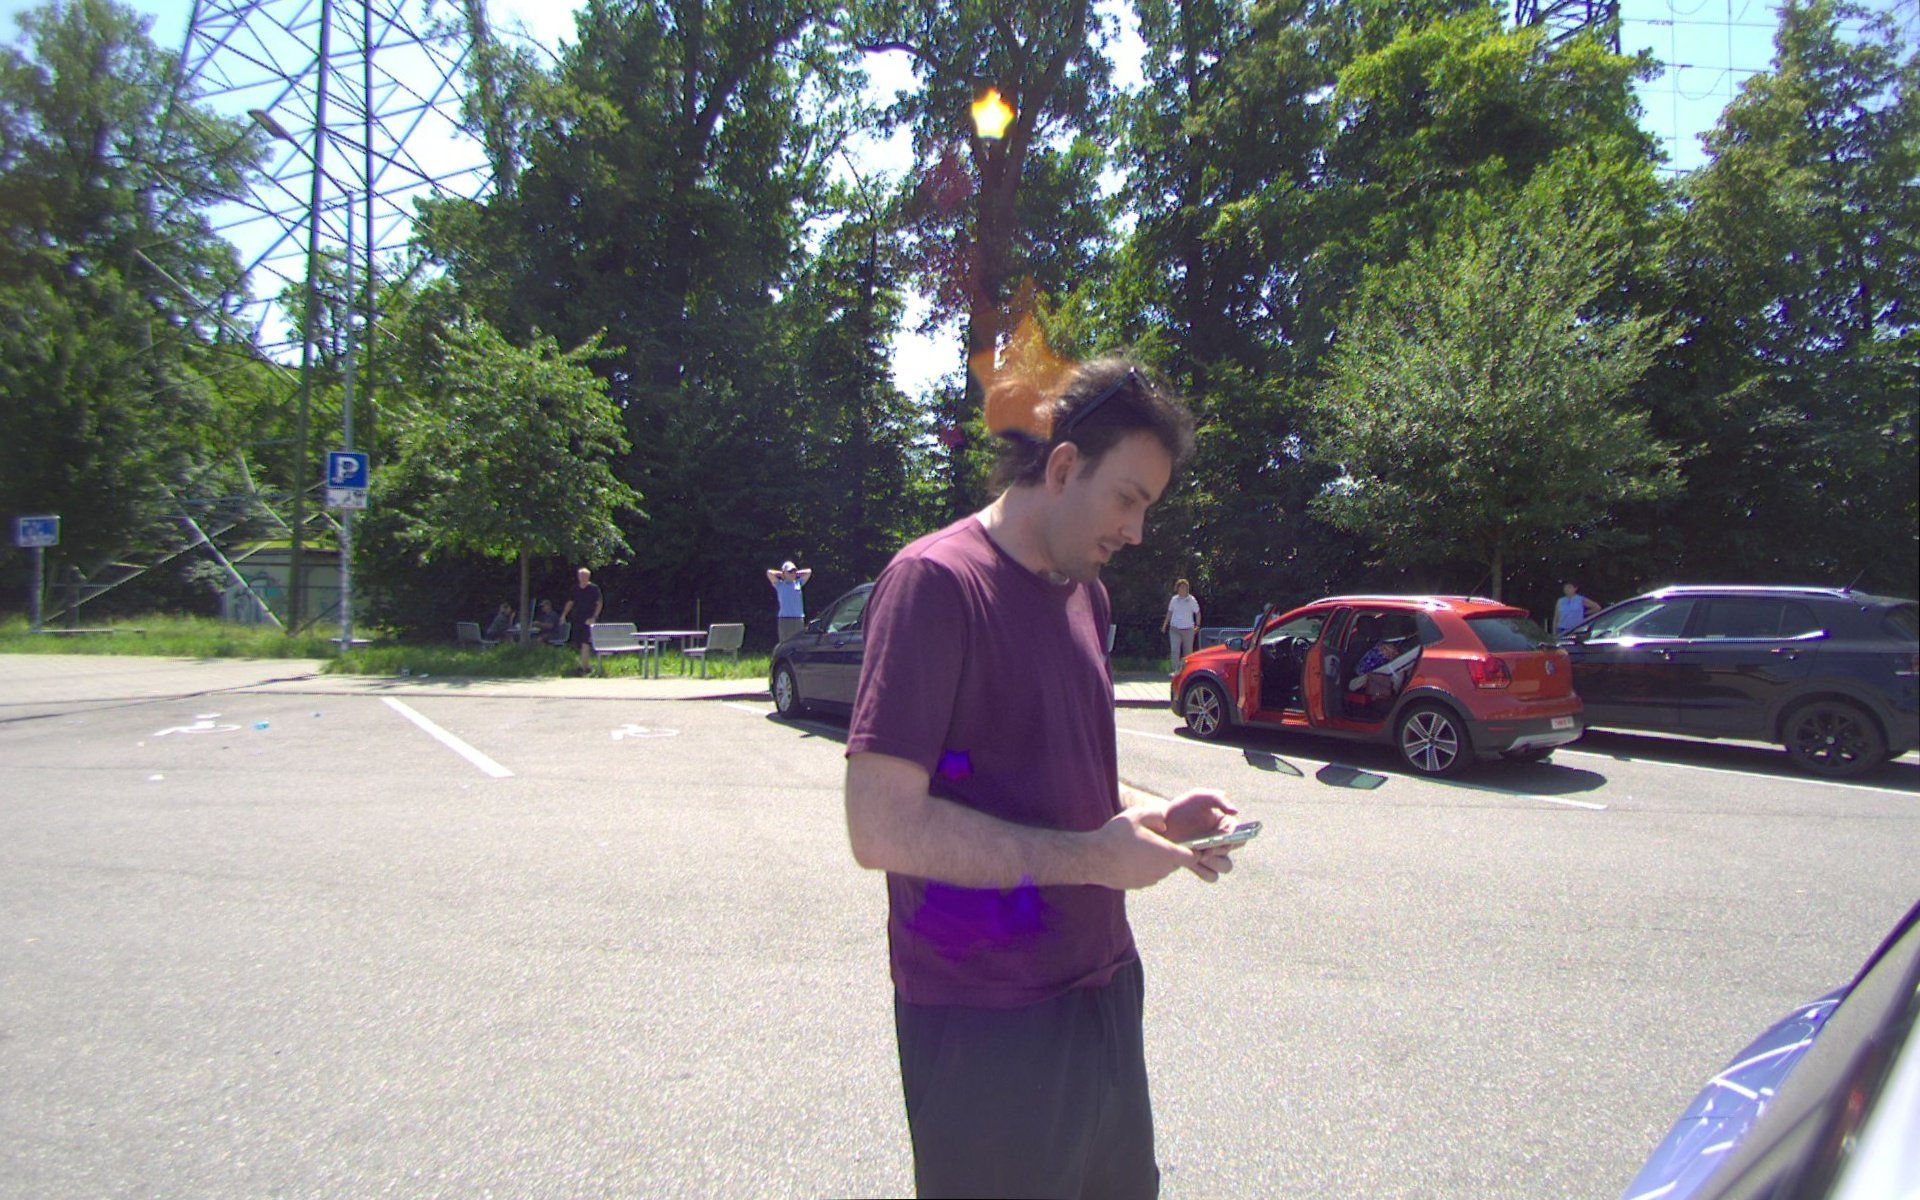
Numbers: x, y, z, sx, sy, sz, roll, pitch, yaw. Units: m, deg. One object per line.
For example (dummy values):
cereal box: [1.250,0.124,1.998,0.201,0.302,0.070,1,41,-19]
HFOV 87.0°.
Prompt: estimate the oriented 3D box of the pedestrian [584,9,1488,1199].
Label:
pedestrian: [0.120,0.453,1.380,0.828,1.797,0.926,0,-1,45]

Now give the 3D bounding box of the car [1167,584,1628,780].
car: [3.937,0.619,9.664,1.746,1.475,3.710,1,0,-33]

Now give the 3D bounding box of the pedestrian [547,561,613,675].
pedestrian: [-6.369,0.299,16.987,0.703,1.851,0.903,1,-1,5]

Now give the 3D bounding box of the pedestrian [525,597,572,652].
pedestrian: [-9.611,0.564,23.627,0.796,1.253,0.713,1,-1,-44]

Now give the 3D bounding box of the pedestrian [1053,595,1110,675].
pedestrian: [2.029,0.576,16.954,0.656,1.311,0.832,1,-1,-17]

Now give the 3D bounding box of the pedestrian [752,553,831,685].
pedestrian: [-2.377,0.257,14.276,0.786,1.784,0.809,1,-1,-39]

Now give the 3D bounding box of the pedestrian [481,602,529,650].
pedestrian: [-10.319,0.585,22.963,0.796,1.062,0.714,1,-1,-43]

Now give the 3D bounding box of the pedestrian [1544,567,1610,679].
pedestrian: [9.246,0.335,15.164,0.712,1.614,0.797,0,-1,42]

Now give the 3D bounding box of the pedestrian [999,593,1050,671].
pedestrian: [1.079,0.538,17.114,0.656,1.285,0.655,1,-1,-17]

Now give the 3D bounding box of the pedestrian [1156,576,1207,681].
pedestrian: [3.555,0.441,16.198,0.764,1.614,0.806,0,-1,15]

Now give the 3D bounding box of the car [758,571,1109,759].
car: [-0.474,0.542,10.712,1.809,1.588,4.017,1,0,-35]

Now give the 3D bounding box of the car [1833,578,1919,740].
car: [10.940,0.597,9.400,1.745,1.612,3.972,1,0,-32]

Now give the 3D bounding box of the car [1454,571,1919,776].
car: [7.218,0.573,9.851,1.807,1.612,3.967,1,0,-38]
